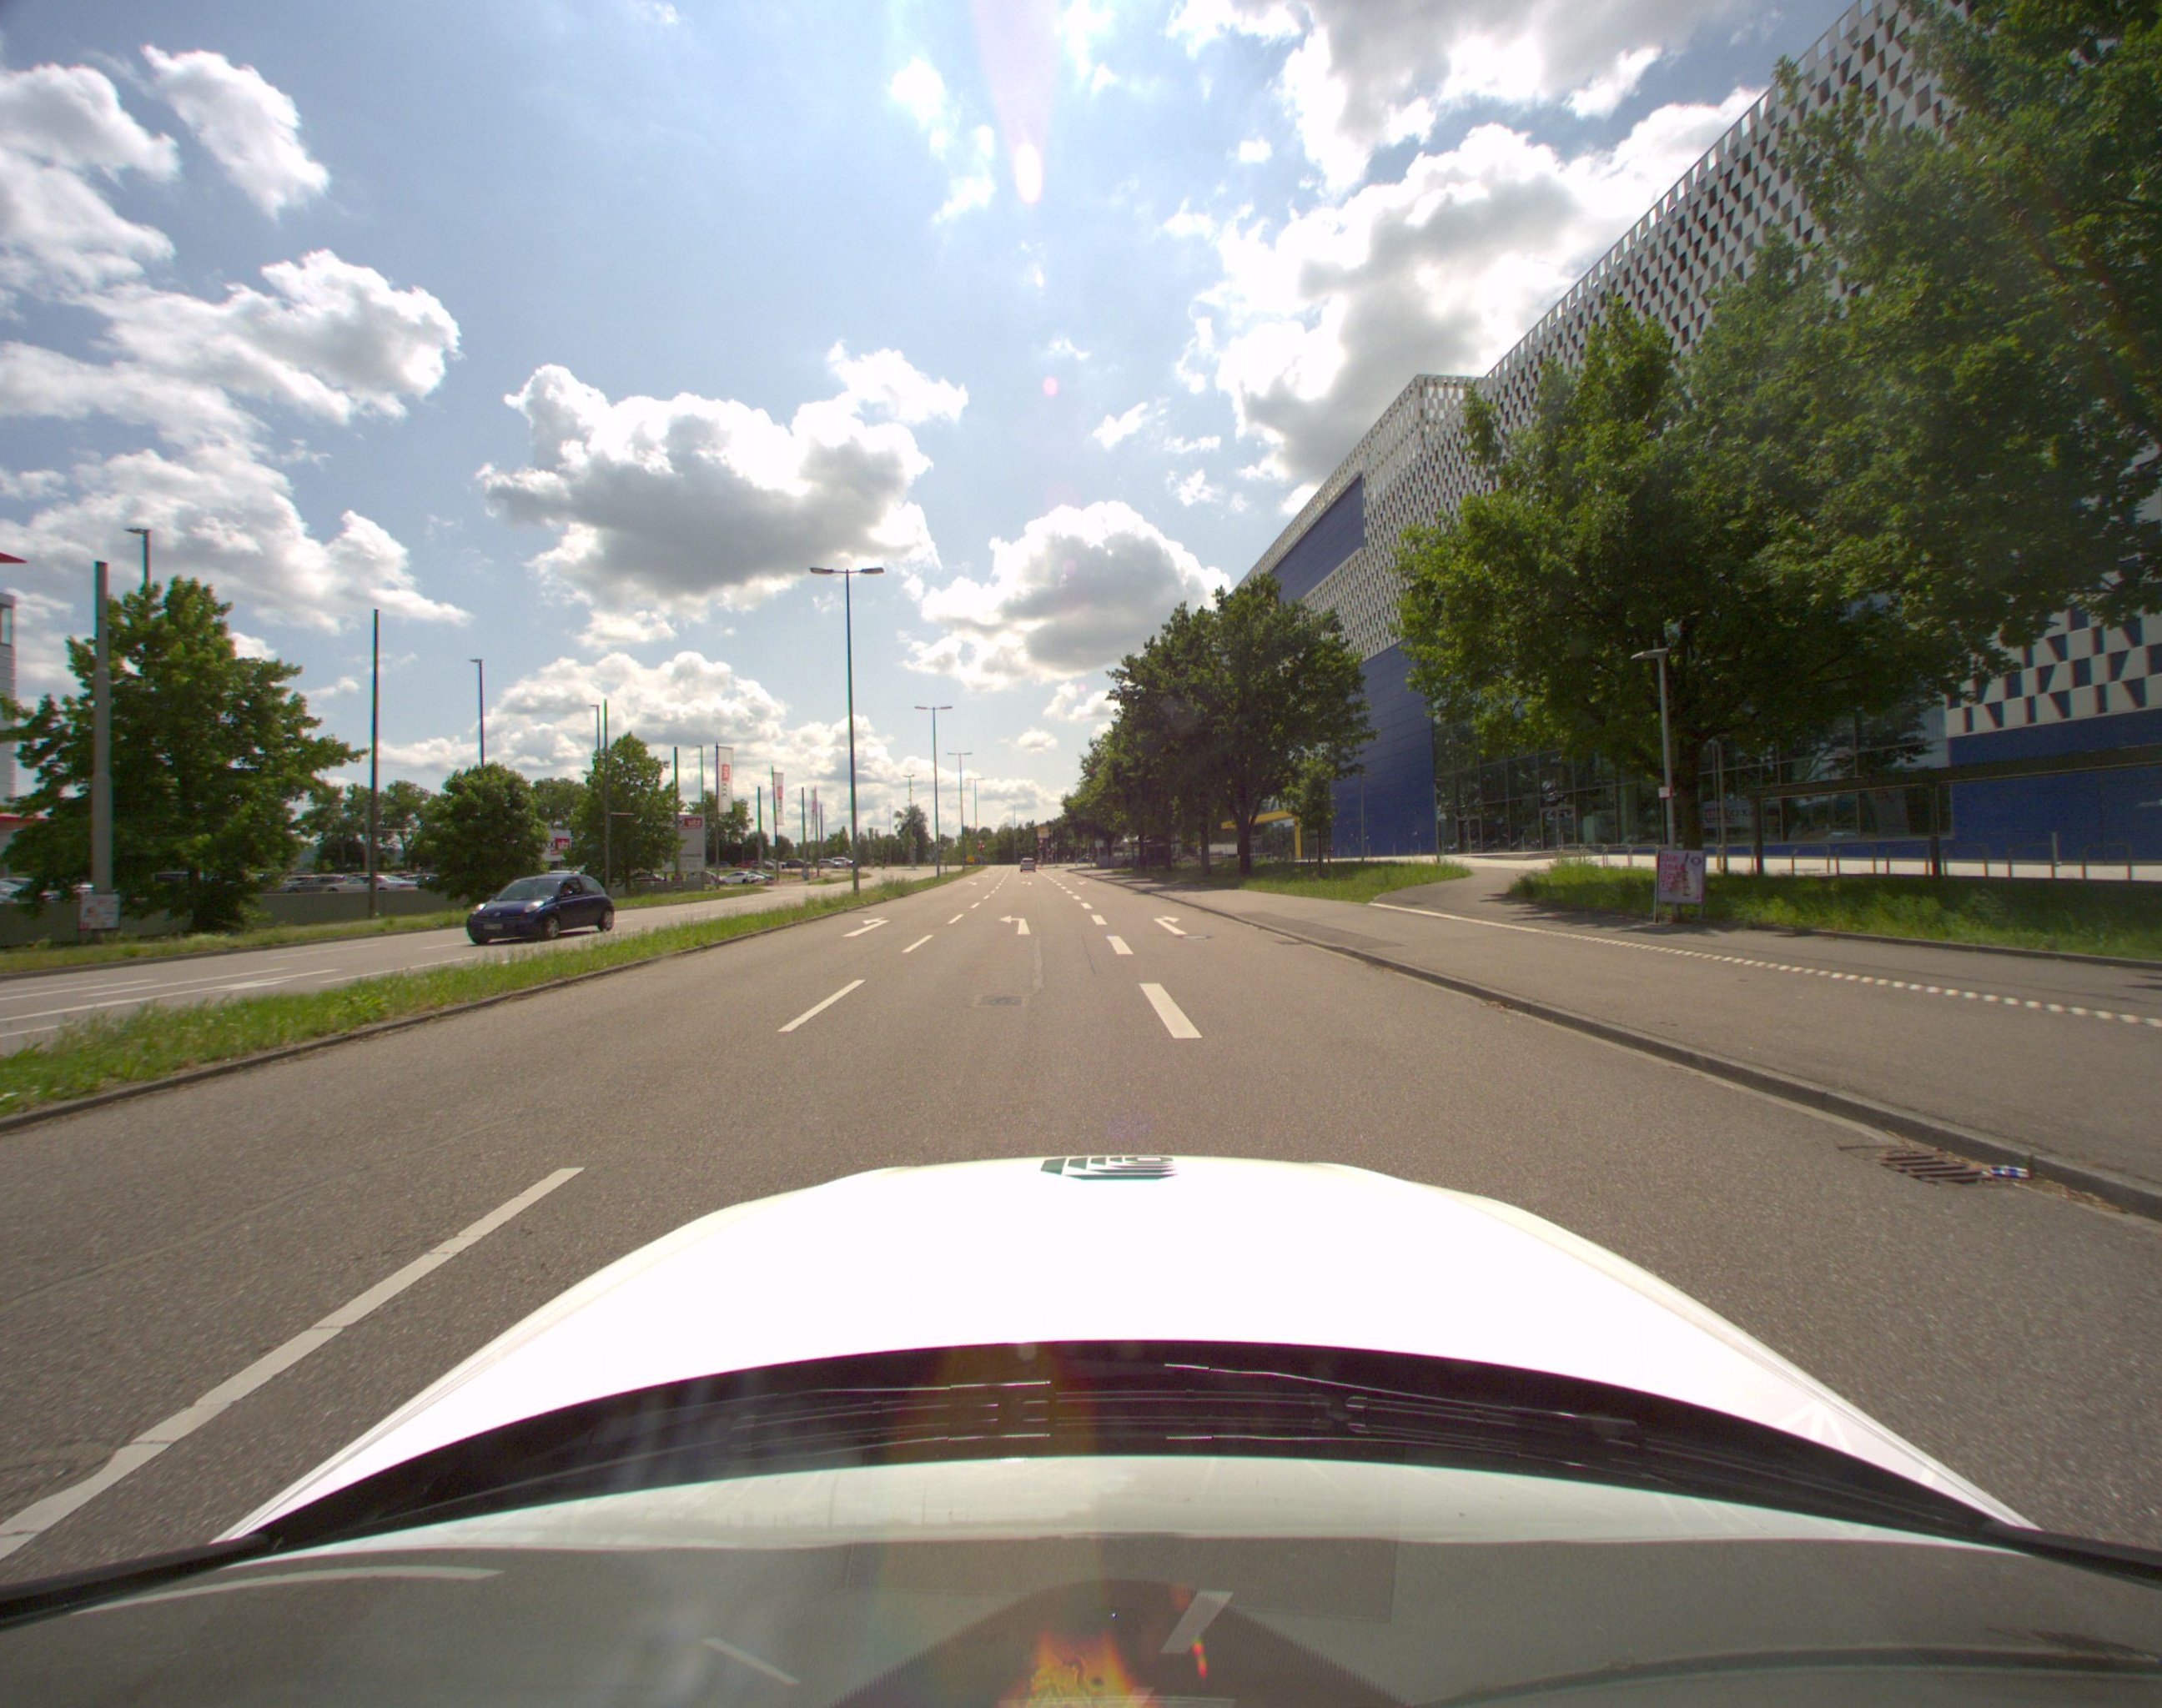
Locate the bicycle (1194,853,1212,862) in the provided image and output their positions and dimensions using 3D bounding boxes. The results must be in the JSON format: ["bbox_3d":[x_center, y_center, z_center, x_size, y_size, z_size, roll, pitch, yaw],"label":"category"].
[{"bbox_3d":[13.316,0.428,89.051,1.859,0.881,0.470,-3,0,-5],"label":"bicycle"}]

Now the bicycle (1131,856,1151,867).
[{"bbox_3d":[5.880,0.717,79.930,1.862,0.994,0.422,-4,0,-10],"label":"bicycle"}]

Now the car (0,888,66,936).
[{"bbox_3d":[-50.584,2.744,37.694,4.343,2.050,1.996,-2,0,-6],"label":"car"}]

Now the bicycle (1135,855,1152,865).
[{"bbox_3d":[6.901,0.701,90.048,1.858,1.034,0.423,-2,0,-4],"label":"bicycle"}]

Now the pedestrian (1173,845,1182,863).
[{"bbox_3d":[9.459,-0.012,79.760,0.627,1.721,0.528,-4,-2,31],"label":"pedestrian"}]

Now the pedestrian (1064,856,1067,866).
[{"bbox_3d":[-2.644,1.150,140.509,0.521,1.721,0.730,-2,0,-1],"label":"pedestrian"}]

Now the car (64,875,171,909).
[{"bbox_3d":[-63.867,2.486,54.042,4.343,1.989,1.996,-2,0,-6],"label":"car"}]

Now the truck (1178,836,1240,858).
[{"bbox_3d":[25.817,-1.339,164.047,11.937,4.104,2.947,-2,0,-5],"label":"truck"}]

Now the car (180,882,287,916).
[{"bbox_3d":[-51.943,2.761,49.982,4.343,1.830,1.774,-2,0,-6],"label":"car"}]

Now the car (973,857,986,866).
[{"bbox_3d":[-17.410,1.239,139.952,1.896,1.469,3.816,0,0,-13],"label":"car"}]

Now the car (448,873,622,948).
[{"bbox_3d":[-12.930,1.277,19.593,1.734,1.475,3.673,-2,0,-2],"label":"car"}]

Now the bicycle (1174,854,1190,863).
[{"bbox_3d":[12.304,0.577,99.670,1.858,0.994,0.423,-2,0,-4],"label":"bicycle"}]

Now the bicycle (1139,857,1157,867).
[{"bbox_3d":[7.166,0.860,87.496,1.862,0.995,0.422,-2,-2,-10],"label":"bicycle"}]

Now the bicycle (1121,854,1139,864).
[{"bbox_3d":[5.275,0.529,87.513,1.862,0.994,0.422,-3,0,-10],"label":"bicycle"}]

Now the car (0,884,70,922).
[{"bbox_3d":[-61.571,2.864,46.714,4.340,1.989,1.997,-2,0,-4],"label":"car"}]

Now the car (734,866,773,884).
[{"bbox_3d":[-38.279,2.435,95.366,3.995,2.013,1.989,-2,0,-16],"label":"car"}]

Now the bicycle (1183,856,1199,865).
[{"bbox_3d":[13.078,0.749,97.037,1.861,0.994,0.463,-2,0,-9],"label":"bicycle"}]

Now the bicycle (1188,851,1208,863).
[{"bbox_3d":[12.927,0.290,90.183,2.130,1.229,0.722,-3,0,5],"label":"bicycle"}]

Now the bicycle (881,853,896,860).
[{"bbox_3d":[-28.703,0.369,121.534,2.014,0.999,0.621,1,-1,-5],"label":"bicycle"}]

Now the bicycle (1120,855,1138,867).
[{"bbox_3d":[5.067,0.693,86.026,1.862,1.187,0.422,-3,0,-10],"label":"bicycle"}]

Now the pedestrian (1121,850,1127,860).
[{"bbox_3d":[7.851,0.210,147.952,0.925,1.807,0.735,-1,0,-6],"label":"pedestrian"}]

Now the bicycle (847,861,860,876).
[{"bbox_3d":[-26.388,1.655,94.322,1.016,1.675,2.045,-2,0,-4],"label":"bicycle"}]

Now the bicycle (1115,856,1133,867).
[{"bbox_3d":[4.812,0.858,90.946,1.862,1.187,0.422,-2,0,-10],"label":"bicycle"}]

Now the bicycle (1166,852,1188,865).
[{"bbox_3d":[9.338,0.436,79.307,1.988,1.108,0.581,-4,-1,33],"label":"bicycle"}]

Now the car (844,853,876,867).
[{"bbox_3d":[-34.103,0.884,125.654,4.343,1.989,1.996,-2,0,-6],"label":"car"}]

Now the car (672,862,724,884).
[{"bbox_3d":[-39.414,1.942,83.818,4.343,1.989,1.996,-2,0,-6],"label":"car"}]

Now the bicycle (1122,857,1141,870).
[{"bbox_3d":[5.186,0.988,83.801,1.892,1.170,0.423,-3,0,-4],"label":"bicycle"}]

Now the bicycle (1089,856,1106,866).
[{"bbox_3d":[1.915,0.780,93.787,1.862,0.995,0.422,-3,-1,-10],"label":"bicycle"}]

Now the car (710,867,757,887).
[{"bbox_3d":[-38.859,2.574,91.030,4.343,1.989,1.996,-2,0,-6],"label":"car"}]

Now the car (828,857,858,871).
[{"bbox_3d":[-38.465,1.581,131.818,4.343,1.989,1.996,-2,0,-6],"label":"car"}]

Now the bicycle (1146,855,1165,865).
[{"bbox_3d":[7.743,0.613,84.221,1.862,0.994,0.422,-4,-1,-10],"label":"bicycle"}]

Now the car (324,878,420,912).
[{"bbox_3d":[-46.379,2.659,53.349,4.343,1.989,1.996,-2,0,-6],"label":"car"}]

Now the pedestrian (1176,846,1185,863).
[{"bbox_3d":[13.159,0.076,107.617,1.001,2.072,0.976,-2,-2,9],"label":"pedestrian"}]

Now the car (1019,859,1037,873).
[{"bbox_3d":[-5.932,1.338,91.032,1.891,1.469,3.828,0,1,-4],"label":"car"}]

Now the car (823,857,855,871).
[{"bbox_3d":[-38.230,1.592,128.783,4.343,1.989,1.996,-2,0,-6],"label":"car"}]
